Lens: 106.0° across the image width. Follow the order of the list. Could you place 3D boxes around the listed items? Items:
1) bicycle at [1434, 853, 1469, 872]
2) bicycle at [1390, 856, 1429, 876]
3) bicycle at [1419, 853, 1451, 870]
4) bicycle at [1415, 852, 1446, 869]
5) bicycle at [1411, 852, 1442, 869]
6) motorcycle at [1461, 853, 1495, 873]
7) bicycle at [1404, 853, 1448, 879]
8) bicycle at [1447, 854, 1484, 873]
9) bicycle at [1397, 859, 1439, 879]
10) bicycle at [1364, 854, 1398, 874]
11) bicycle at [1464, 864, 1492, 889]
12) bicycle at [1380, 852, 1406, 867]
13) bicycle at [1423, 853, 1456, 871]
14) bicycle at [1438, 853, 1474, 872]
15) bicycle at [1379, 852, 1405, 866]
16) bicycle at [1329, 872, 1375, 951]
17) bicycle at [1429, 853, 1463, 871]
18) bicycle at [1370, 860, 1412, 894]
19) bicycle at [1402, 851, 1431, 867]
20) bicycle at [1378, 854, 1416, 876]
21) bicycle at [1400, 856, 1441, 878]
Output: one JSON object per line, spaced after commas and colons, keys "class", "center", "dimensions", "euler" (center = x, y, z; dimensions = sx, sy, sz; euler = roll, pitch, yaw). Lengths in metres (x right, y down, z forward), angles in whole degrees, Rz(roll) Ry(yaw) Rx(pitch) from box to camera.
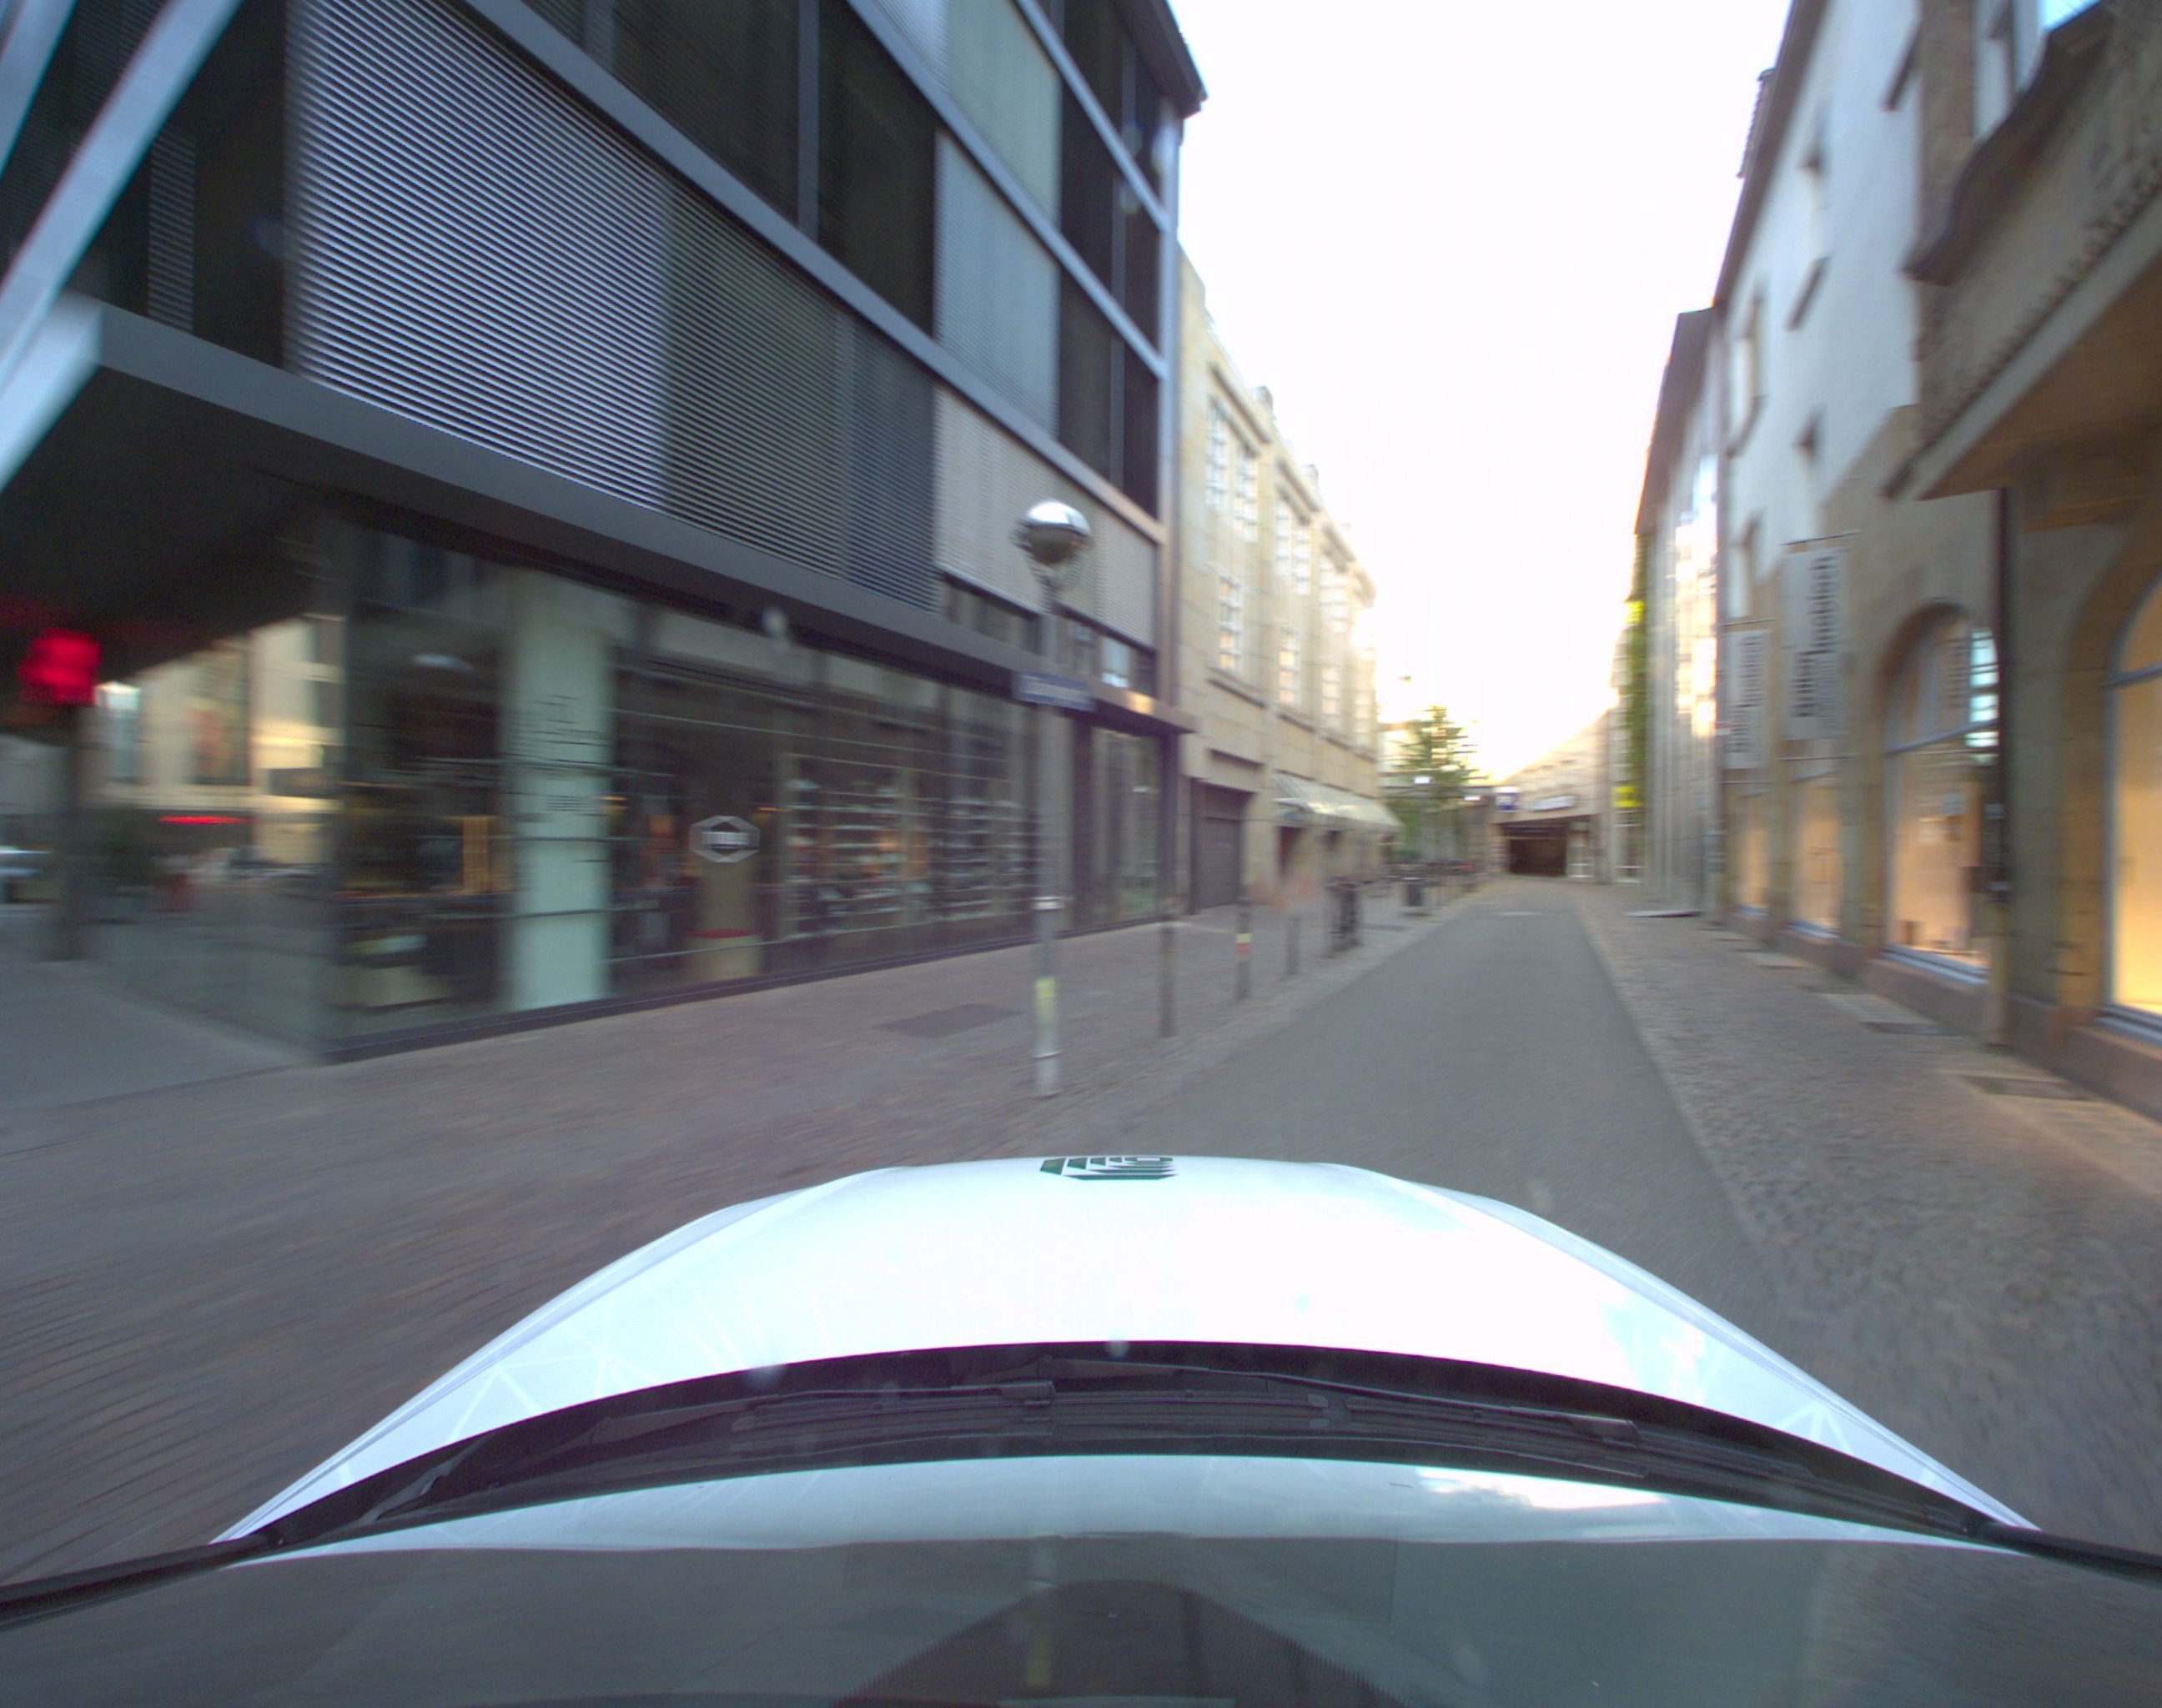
{"class": "bicycle", "center": [24.549, 0.570, 53.977], "dimensions": [1.981, 1.182, 0.805], "euler": [-2, 0, 11]}
{"class": "bicycle", "center": [17.685, 0.638, 43.894], "dimensions": [1.899, 1.101, 0.698], "euler": [0, 0, 13]}
{"class": "bicycle", "center": [25.464, 0.542, 58.640], "dimensions": [1.981, 1.182, 0.696], "euler": [-2, 0, 11]}
{"class": "bicycle", "center": [25.730, 0.483, 59.926], "dimensions": [1.981, 1.182, 0.696], "euler": [-2, 0, 11]}
{"class": "bicycle", "center": [25.895, 0.500, 61.082], "dimensions": [1.981, 1.182, 0.696], "euler": [-2, 0, 11]}
{"class": "motorcycle", "center": [24.400, 0.551, 50.052], "dimensions": [1.733, 1.155, 0.597], "euler": [-2, 0, 13]}
{"class": "bicycle", "center": [16.993, 0.607, 40.129], "dimensions": [1.901, 1.261, 0.811], "euler": [0, 0, 10]}
{"class": "bicycle", "center": [24.505, 0.597, 51.973], "dimensions": [1.981, 1.182, 0.698], "euler": [-2, 0, 11]}
{"class": "bicycle", "center": [17.242, 0.766, 41.698], "dimensions": [1.901, 0.994, 0.698], "euler": [0, 0, 10]}
{"class": "bicycle", "center": [18.328, 0.598, 49.737], "dimensions": [1.899, 1.182, 0.698], "euler": [0, 0, 13]}
{"class": "bicycle", "center": [16.257, 0.926, 33.332], "dimensions": [1.704, 0.966, 0.500], "euler": [0, 0, -45]}
{"class": "bicycle", "center": [26.800, 0.465, 69.909], "dimensions": [1.981, 1.182, 0.696], "euler": [-2, 0, 11]}
{"class": "bicycle", "center": [25.381, 0.563, 57.659], "dimensions": [1.981, 1.182, 0.696], "euler": [-2, 0, 11]}
{"class": "bicycle", "center": [24.390, 0.527, 53.042], "dimensions": [1.981, 1.182, 0.698], "euler": [-2, 0, 11]}
{"class": "bicycle", "center": [26.976, 0.446, 70.750], "dimensions": [1.981, 1.182, 0.696], "euler": [-2, 0, 11]}
{"class": "bicycle", "center": [4.406, 0.881, 13.161], "dimensions": [0.406, 1.132, 1.943], "euler": [0, 0, 27]}
{"class": "bicycle", "center": [24.737, 0.544, 55.188], "dimensions": [1.981, 1.182, 0.805], "euler": [-2, 0, 11]}
{"class": "bicycle", "center": [10.804, 0.783, 28.357], "dimensions": [1.787, 1.112, 0.687], "euler": [0, 0, -45]}
{"class": "bicycle", "center": [26.188, 0.422, 63.661], "dimensions": [1.981, 1.182, 0.696], "euler": [-2, 0, 11]}
{"class": "bicycle", "center": [17.485, 0.609, 45.061], "dimensions": [1.899, 1.182, 0.698], "euler": [0, 0, 13]}
{"class": "bicycle", "center": [17.710, 0.682, 42.496], "dimensions": [1.901, 1.101, 0.698], "euler": [0, 0, 10]}
